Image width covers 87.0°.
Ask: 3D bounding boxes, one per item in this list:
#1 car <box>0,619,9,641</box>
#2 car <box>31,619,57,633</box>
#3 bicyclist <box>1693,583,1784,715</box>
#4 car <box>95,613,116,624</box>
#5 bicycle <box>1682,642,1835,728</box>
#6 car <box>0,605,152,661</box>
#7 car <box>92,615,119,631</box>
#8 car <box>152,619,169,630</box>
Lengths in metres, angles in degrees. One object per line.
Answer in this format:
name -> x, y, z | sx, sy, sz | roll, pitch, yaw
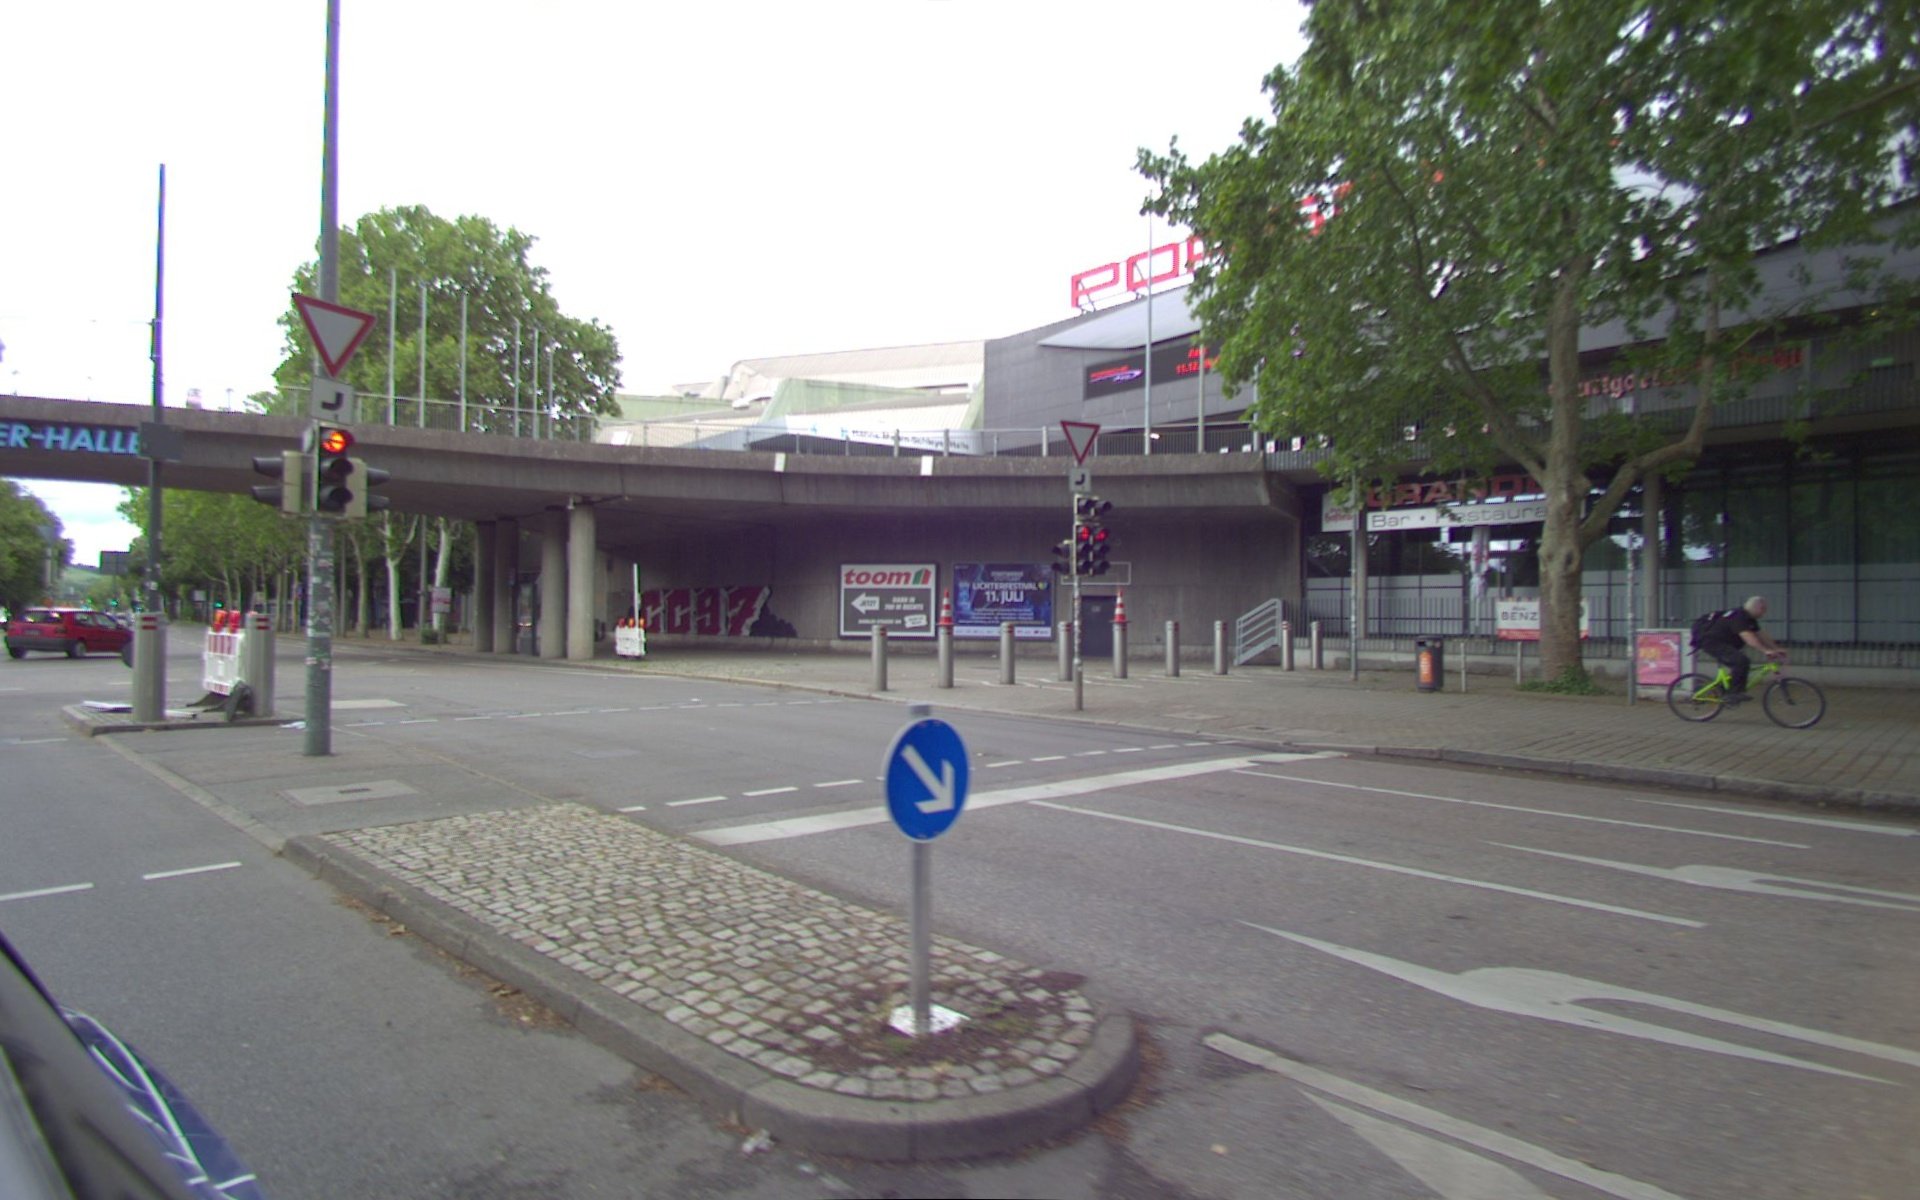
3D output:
car -> -65.905, 2.003, 68.651 | 1.735, 1.374, 3.723 | 3, -1, -40
car -> -99.641, 2.798, 110.084 | 1.735, 1.374, 3.724 | 3, -1, -38
bicyclist -> 10.523, 0.643, 13.678 | 0.755, 1.710, 0.855 | 3, -1, -44
car -> -133.598, 2.866, 158.228 | 4.000, 1.672, 1.972 | 0, -2, 43
bicycle -> 10.644, 1.108, 13.521 | 0.509, 1.020, 1.539 | 3, -1, -44
car -> -25.667, 0.928, 29.362 | 1.804, 1.463, 4.086 | 2, -1, -12
car -> -82.089, 2.234, 97.251 | 1.968, 1.429, 4.007 | 3, -2, -40
car -> -103.726, 3.177, 131.320 | 1.590, 1.323, 3.401 | 3, -2, -40
